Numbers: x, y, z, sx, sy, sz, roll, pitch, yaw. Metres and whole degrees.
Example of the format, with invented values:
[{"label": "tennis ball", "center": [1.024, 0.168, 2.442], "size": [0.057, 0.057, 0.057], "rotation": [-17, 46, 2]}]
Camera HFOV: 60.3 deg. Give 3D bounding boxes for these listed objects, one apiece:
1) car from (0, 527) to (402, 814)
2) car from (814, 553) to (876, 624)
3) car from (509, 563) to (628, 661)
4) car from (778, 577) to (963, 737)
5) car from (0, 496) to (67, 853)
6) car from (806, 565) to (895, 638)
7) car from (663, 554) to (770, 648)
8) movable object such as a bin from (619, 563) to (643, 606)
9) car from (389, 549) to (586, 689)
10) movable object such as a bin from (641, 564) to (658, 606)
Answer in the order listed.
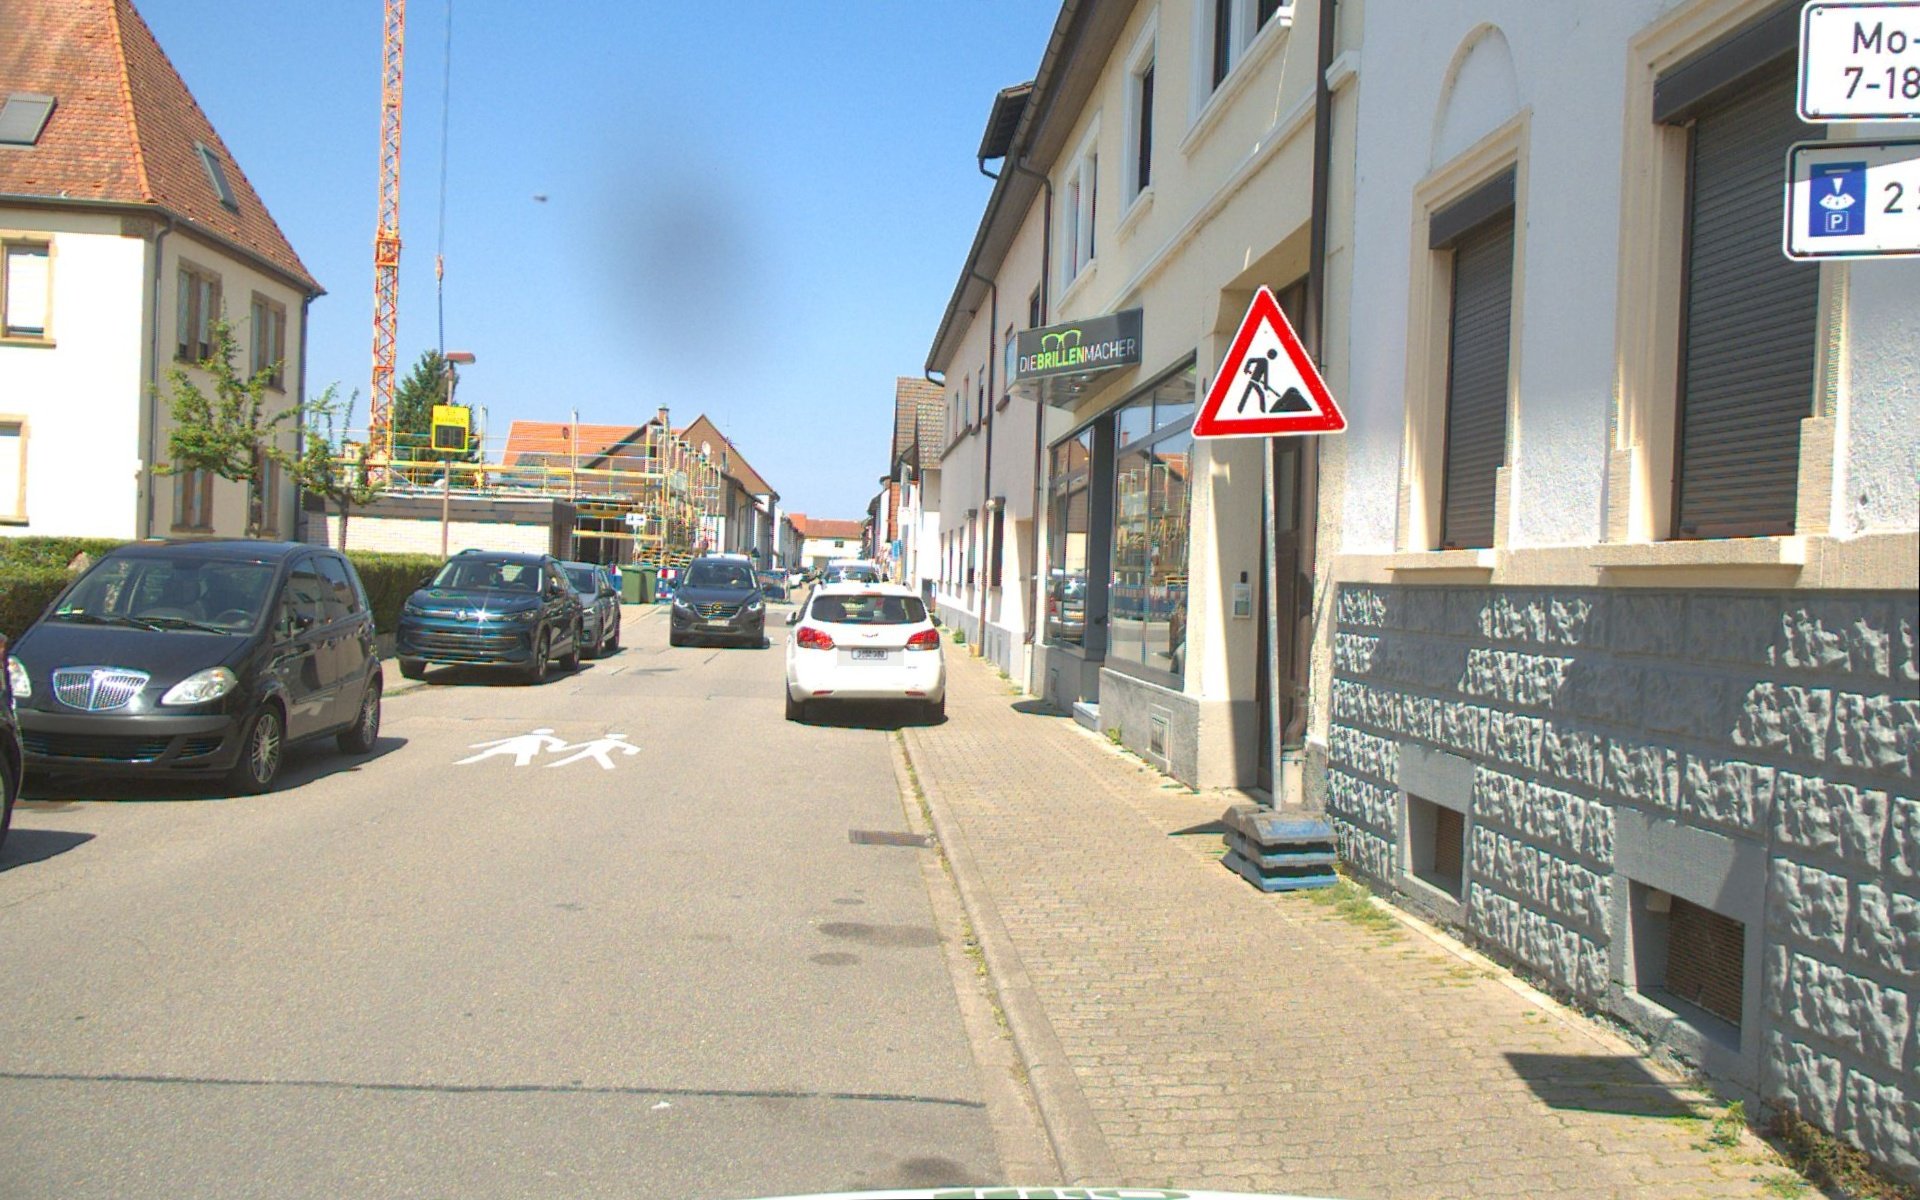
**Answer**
[{"label": "car", "center": [-5.264, 0.375, 11.662], "size": [1.606, 1.657, 3.765], "rotation": [2, 1, -5]}, {"label": "car", "center": [-3.087, -0.345, 44.136], "size": [1.533, 1.640, 3.540], "rotation": [2, 3, -5]}, {"label": "car", "center": [-6.538, 0.169, 27.923], "size": [1.408, 1.500, 3.782], "rotation": [2, 0, -5]}, {"label": "car", "center": [-1.111, 0.558, 19.095], "size": [1.850, 1.568, 4.238], "rotation": [2, 1, -5]}, {"label": "car", "center": [-5.191, 0.337, 6.036], "size": [1.779, 1.632, 4.022], "rotation": [2, 1, -3]}, {"label": "car", "center": [-2.633, -0.012, 38.984], "size": [1.848, 1.583, 3.889], "rotation": [-1, 2, -7]}, {"label": "car", "center": [-4.788, -0.018, 33.035], "size": [1.845, 1.697, 4.149], "rotation": [2, 1, -6]}, {"label": "movable object such as a bin", "center": [-9.340, -0.449, 46.980], "size": [0.610, 1.175, 0.675], "rotation": [2, 1, -11]}, {"label": "car", "center": [-6.296, 0.198, 22.501], "size": [1.791, 1.659, 4.212], "rotation": [2, 1, -6]}, {"label": "movable object such as a bin", "center": [-8.922, -0.424, 47.463], "size": [0.424, 1.175, 0.363], "rotation": [2, 1, -14]}]
